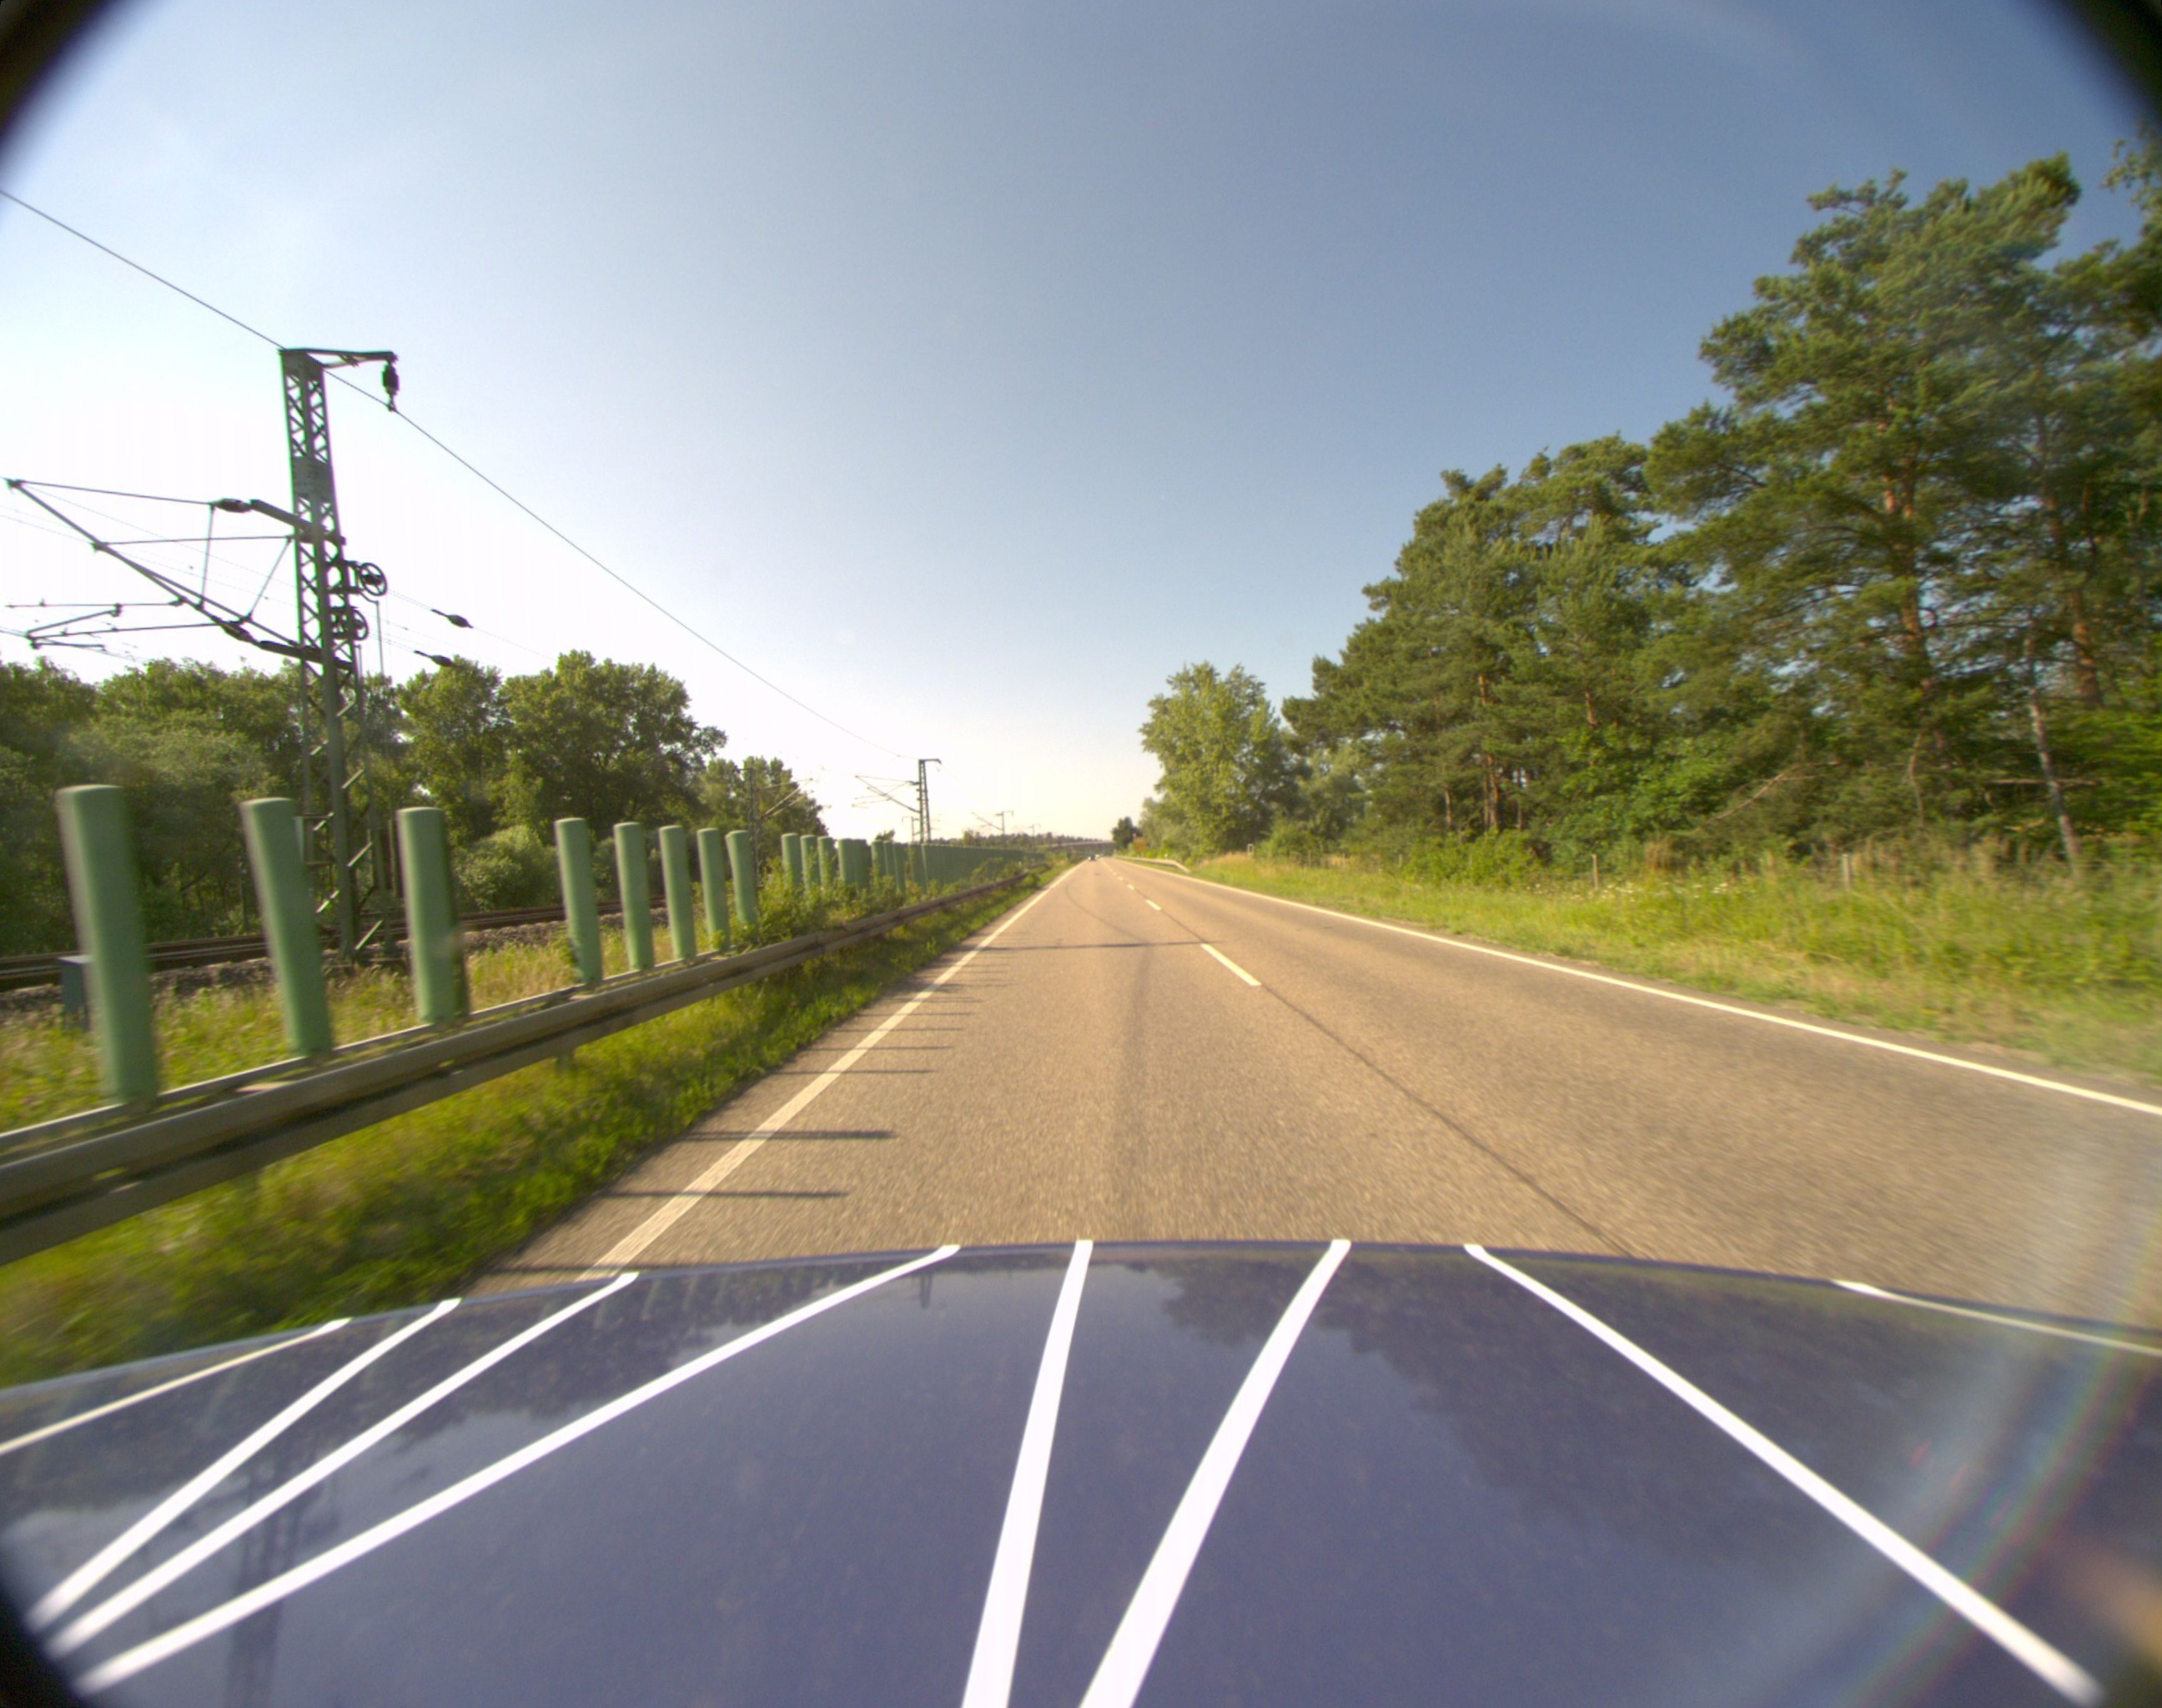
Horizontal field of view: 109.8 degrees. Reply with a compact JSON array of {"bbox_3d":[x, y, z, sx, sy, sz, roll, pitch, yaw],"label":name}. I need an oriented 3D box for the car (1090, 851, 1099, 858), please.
[{"bbox_3d":[3.032,0.040,166.898,1.868,1.533,4.076,-1,0,3],"label":"car"}]
